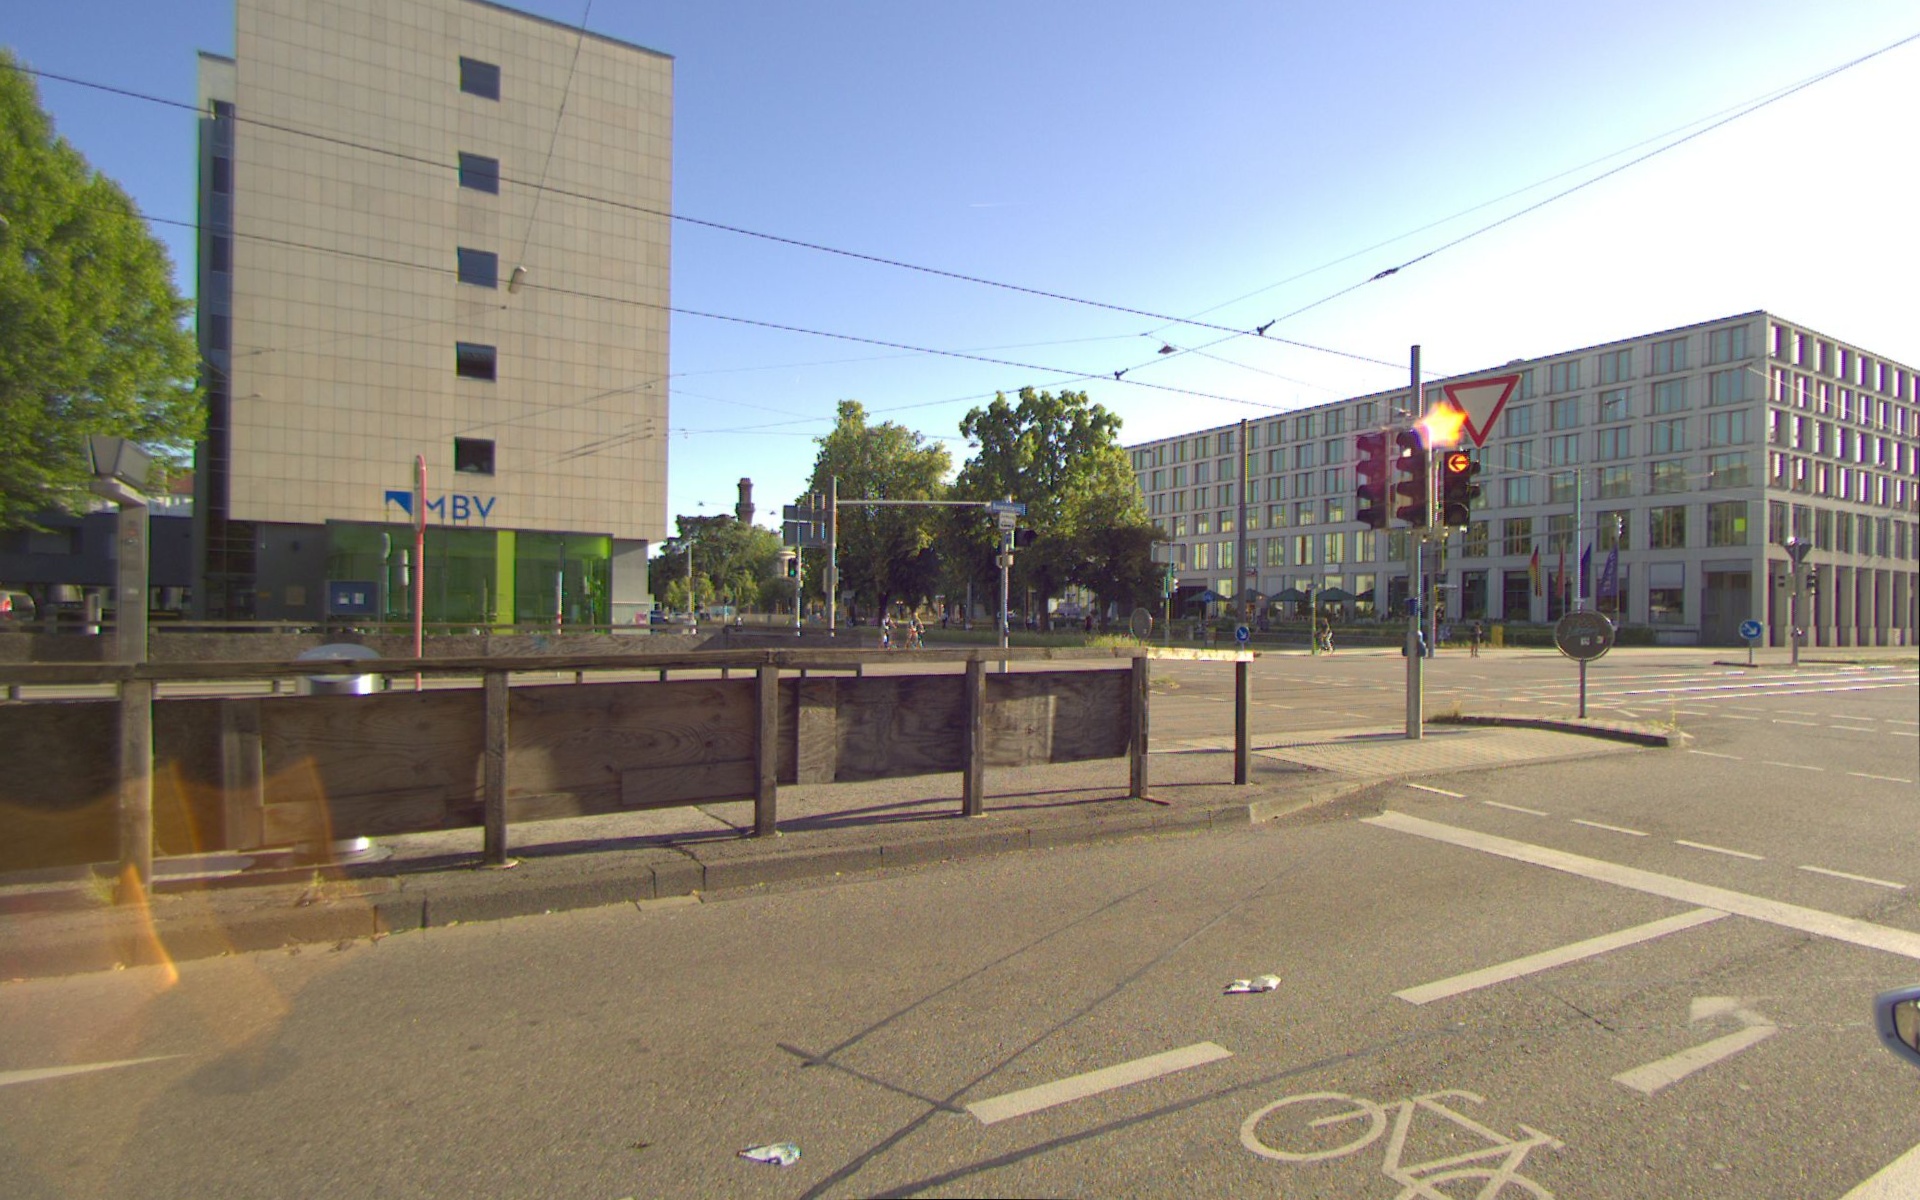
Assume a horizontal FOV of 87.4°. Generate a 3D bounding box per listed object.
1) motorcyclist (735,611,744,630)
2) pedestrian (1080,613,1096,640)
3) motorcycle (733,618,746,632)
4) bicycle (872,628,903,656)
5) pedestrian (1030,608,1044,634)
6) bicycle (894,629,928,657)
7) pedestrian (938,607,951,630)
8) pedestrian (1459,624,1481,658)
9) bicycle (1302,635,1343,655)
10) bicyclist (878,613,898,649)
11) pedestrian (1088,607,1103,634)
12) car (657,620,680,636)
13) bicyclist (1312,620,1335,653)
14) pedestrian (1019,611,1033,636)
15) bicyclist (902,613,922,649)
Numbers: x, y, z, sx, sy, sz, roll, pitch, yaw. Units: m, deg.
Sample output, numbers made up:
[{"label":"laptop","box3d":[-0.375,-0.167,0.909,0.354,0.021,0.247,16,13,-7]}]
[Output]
[{"label":"motorcyclist","box3d":[-18.274,1.701,83.303,0.561,1.598,0.642,1,-1,-34]},{"label":"pedestrian","box3d":[9.461,1.934,74.168,0.861,1.925,0.714,2,0,-20]},{"label":"motorcycle","box3d":[-18.316,2.088,83.333,0.524,1.153,1.449,1,-1,-34]},{"label":"bicycle","box3d":[-3.146,1.807,43.372,0.574,1.148,1.776,1,-1,-31]},{"label":"pedestrian","box3d":[6.150,1.700,80.080,0.813,2.040,0.840,2,0,-22]},{"label":"bicycle","box3d":[-2.127,1.836,43.464,0.616,1.148,1.869,1,-1,-31]},{"label":"pedestrian","box3d":[-1.461,1.678,92.239,0.816,2.040,0.837,2,0,-32]},{"label":"pedestrian","box3d":[24.920,1.994,49.099,0.586,1.610,0.769,1,-1,-39]},{"label":"bicycle","box3d":[17.800,2.199,49.305,1.834,0.947,0.760,1,-1,-18]},{"label":"bicyclist","box3d":[-3.119,1.327,43.342,0.647,1.544,0.615,1,-1,-32]},{"label":"pedestrian","box3d":[10.115,1.533,75.104,0.812,2.040,0.841,2,0,-20]},{"label":"car","box3d":[-31.682,3.049,109.024,1.611,1.639,3.623,2,0,-28]},{"label":"bicyclist","box3d":[17.834,1.768,49.298,0.765,1.610,0.759,1,-1,-16]},{"label":"pedestrian","box3d":[5.253,1.834,79.665,0.862,1.925,0.714,2,0,-24]},{"label":"bicyclist","box3d":[-2.080,1.353,43.420,0.602,1.544,0.709,1,-1,-32]}]
